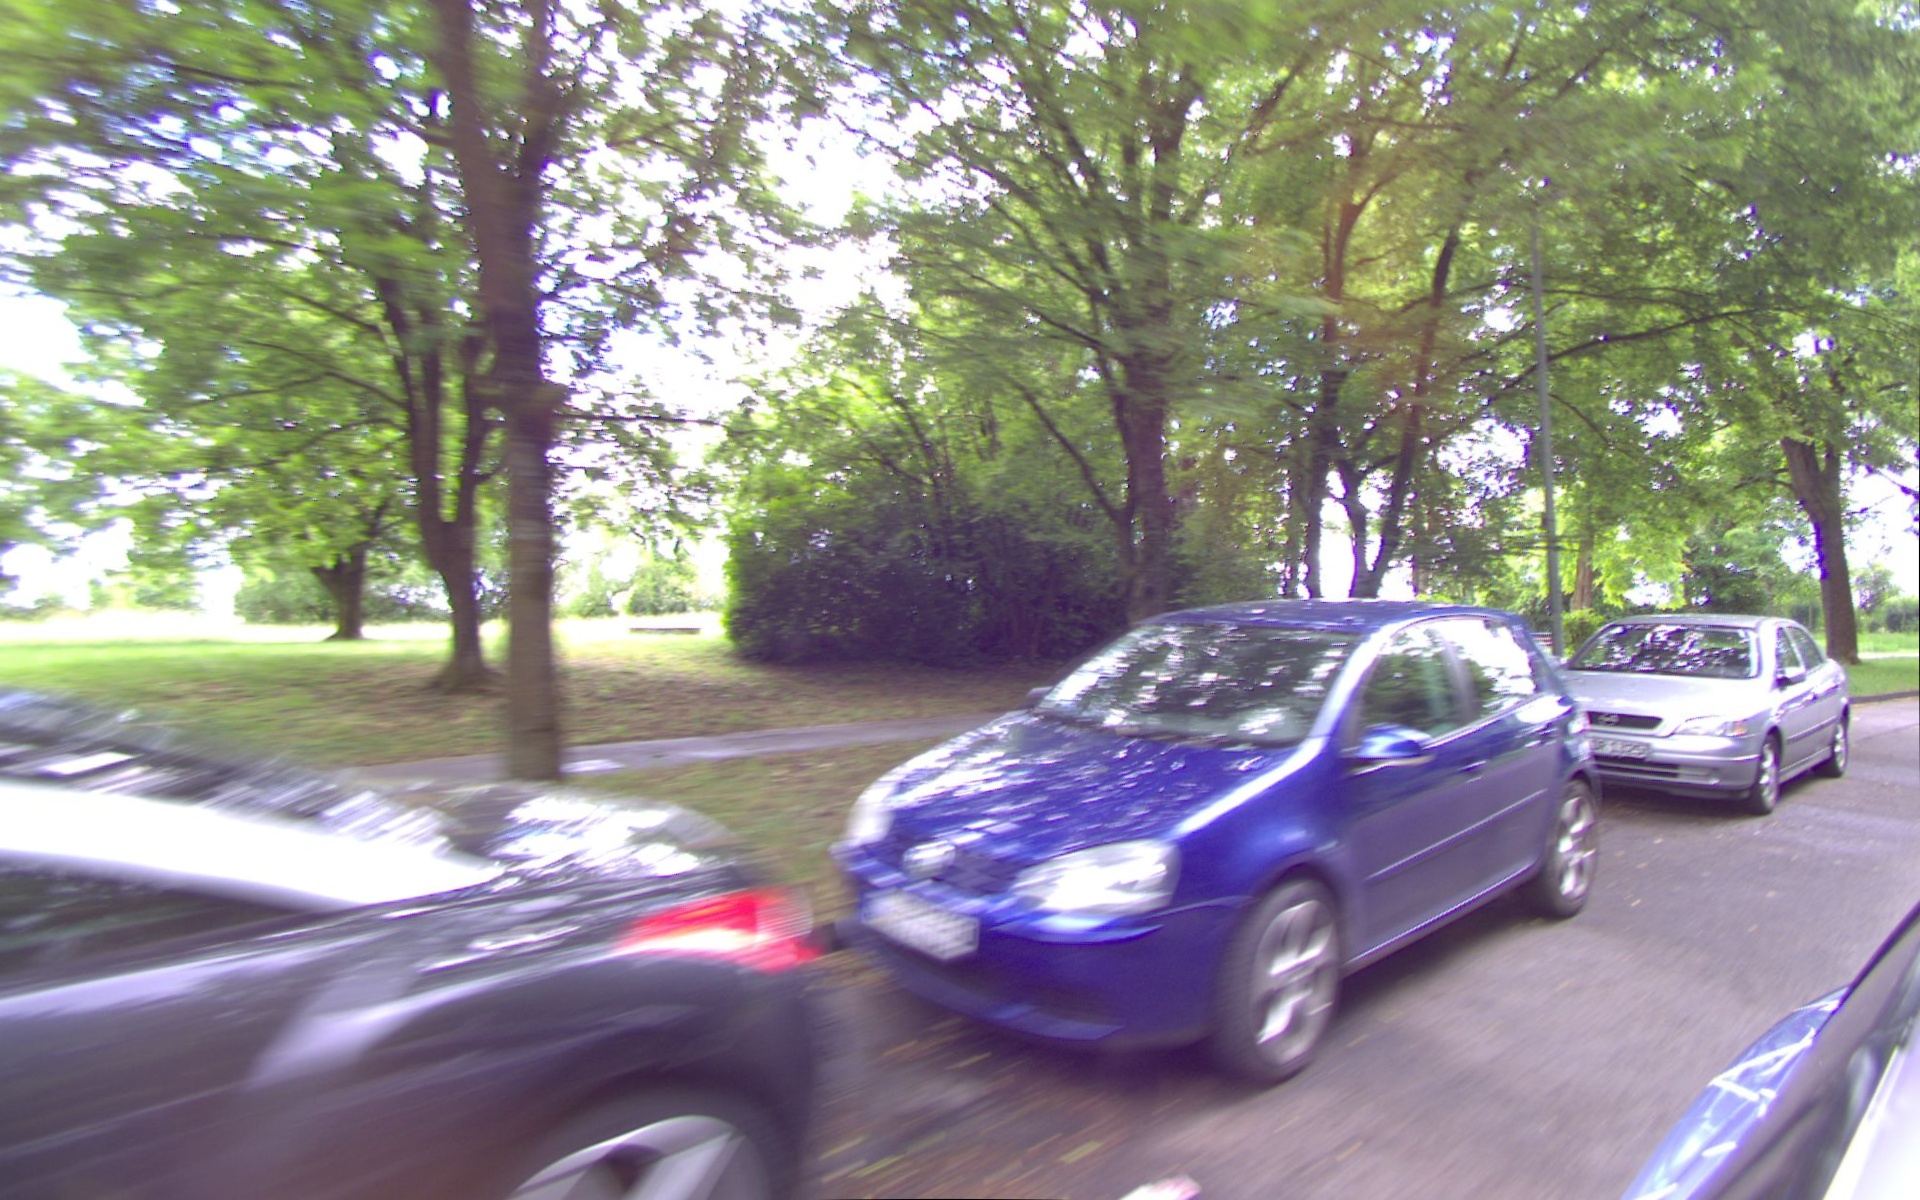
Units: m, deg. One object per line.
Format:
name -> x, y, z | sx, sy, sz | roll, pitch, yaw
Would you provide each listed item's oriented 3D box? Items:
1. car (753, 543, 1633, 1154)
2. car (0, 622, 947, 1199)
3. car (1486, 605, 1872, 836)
car -> 1.332, 0.633, 4.548 | 4.107, 1.529, 1.716 | -1, -2, -41
car -> -2.195, 0.749, 1.308 | 4.342, 1.354, 1.751 | 0, -1, -44
car -> 6.181, 0.798, 8.547 | 3.878, 1.449, 1.721 | -1, 1, -40
